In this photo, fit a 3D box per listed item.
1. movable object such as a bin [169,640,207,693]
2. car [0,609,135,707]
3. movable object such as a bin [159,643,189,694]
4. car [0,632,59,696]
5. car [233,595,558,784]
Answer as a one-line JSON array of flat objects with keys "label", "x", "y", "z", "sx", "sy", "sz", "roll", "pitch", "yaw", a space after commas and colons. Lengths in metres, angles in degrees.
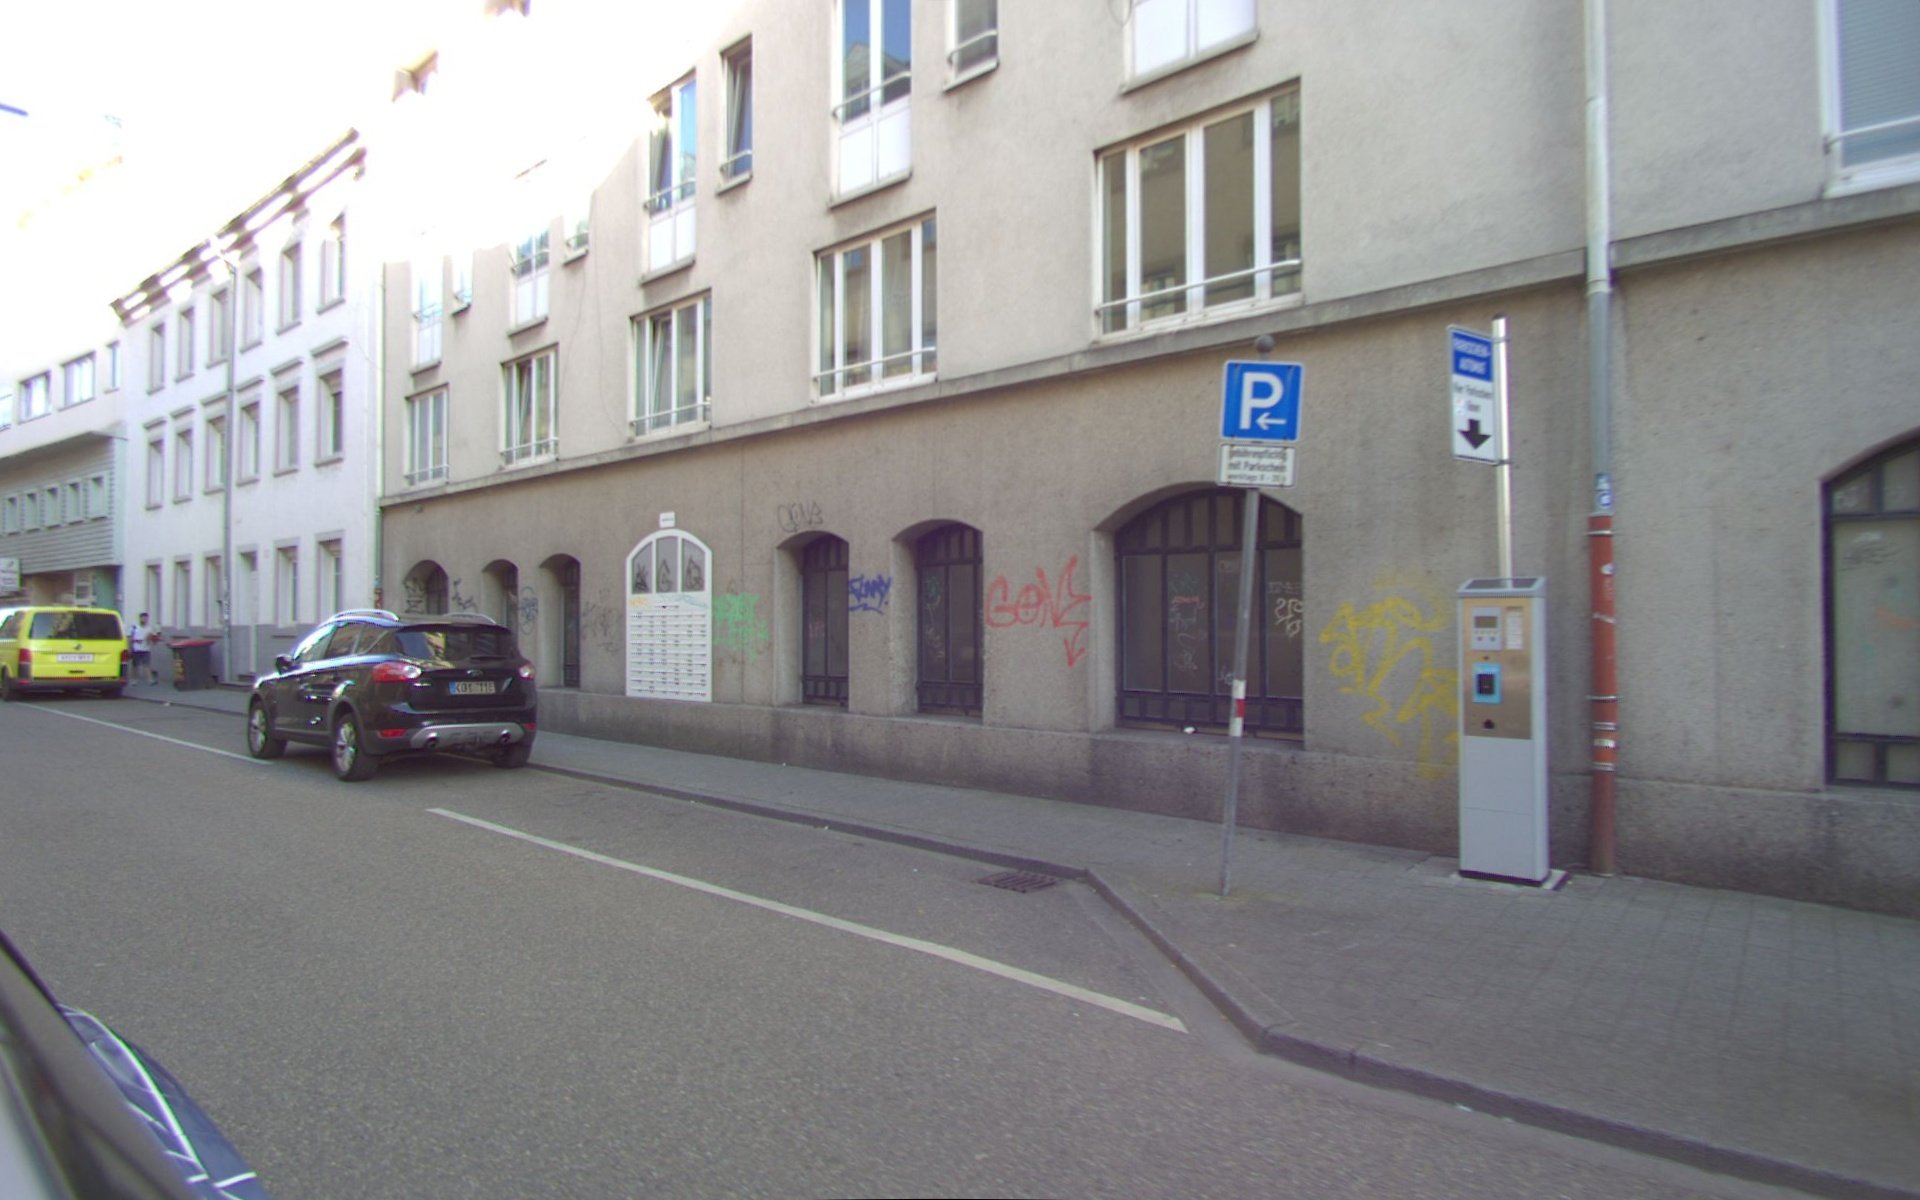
[{"label": "movable object such as a bin", "x": -16.648, "y": 1.428, "z": 21.822, "sx": 0.432, "sy": 1.113, "sz": 0.535, "roll": -2, "pitch": -3, "yaw": 38}, {"label": "car", "x": -19.657, "y": 1.209, "z": 21.652, "sx": 4.854, "sy": 1.881, "sz": 1.863, "roll": -1, "pitch": -4, "yaw": 36}, {"label": "movable object such as a bin", "x": -17.286, "y": 1.501, "z": 22.269, "sx": 0.432, "sy": 1.113, "sz": 0.406, "roll": -2, "pitch": -3, "yaw": 38}, {"label": "car", "x": -24.005, "y": 1.528, "z": 24.847, "sx": 4.066, "sy": 1.497, "sz": 1.803, "roll": -1, "pitch": -4, "yaw": 34}, {"label": "car", "x": -6.374, "y": 0.910, "z": 11.244, "sx": 4.187, "sy": 1.724, "sz": 1.722, "roll": -2, "pitch": -5, "yaw": 40}]
